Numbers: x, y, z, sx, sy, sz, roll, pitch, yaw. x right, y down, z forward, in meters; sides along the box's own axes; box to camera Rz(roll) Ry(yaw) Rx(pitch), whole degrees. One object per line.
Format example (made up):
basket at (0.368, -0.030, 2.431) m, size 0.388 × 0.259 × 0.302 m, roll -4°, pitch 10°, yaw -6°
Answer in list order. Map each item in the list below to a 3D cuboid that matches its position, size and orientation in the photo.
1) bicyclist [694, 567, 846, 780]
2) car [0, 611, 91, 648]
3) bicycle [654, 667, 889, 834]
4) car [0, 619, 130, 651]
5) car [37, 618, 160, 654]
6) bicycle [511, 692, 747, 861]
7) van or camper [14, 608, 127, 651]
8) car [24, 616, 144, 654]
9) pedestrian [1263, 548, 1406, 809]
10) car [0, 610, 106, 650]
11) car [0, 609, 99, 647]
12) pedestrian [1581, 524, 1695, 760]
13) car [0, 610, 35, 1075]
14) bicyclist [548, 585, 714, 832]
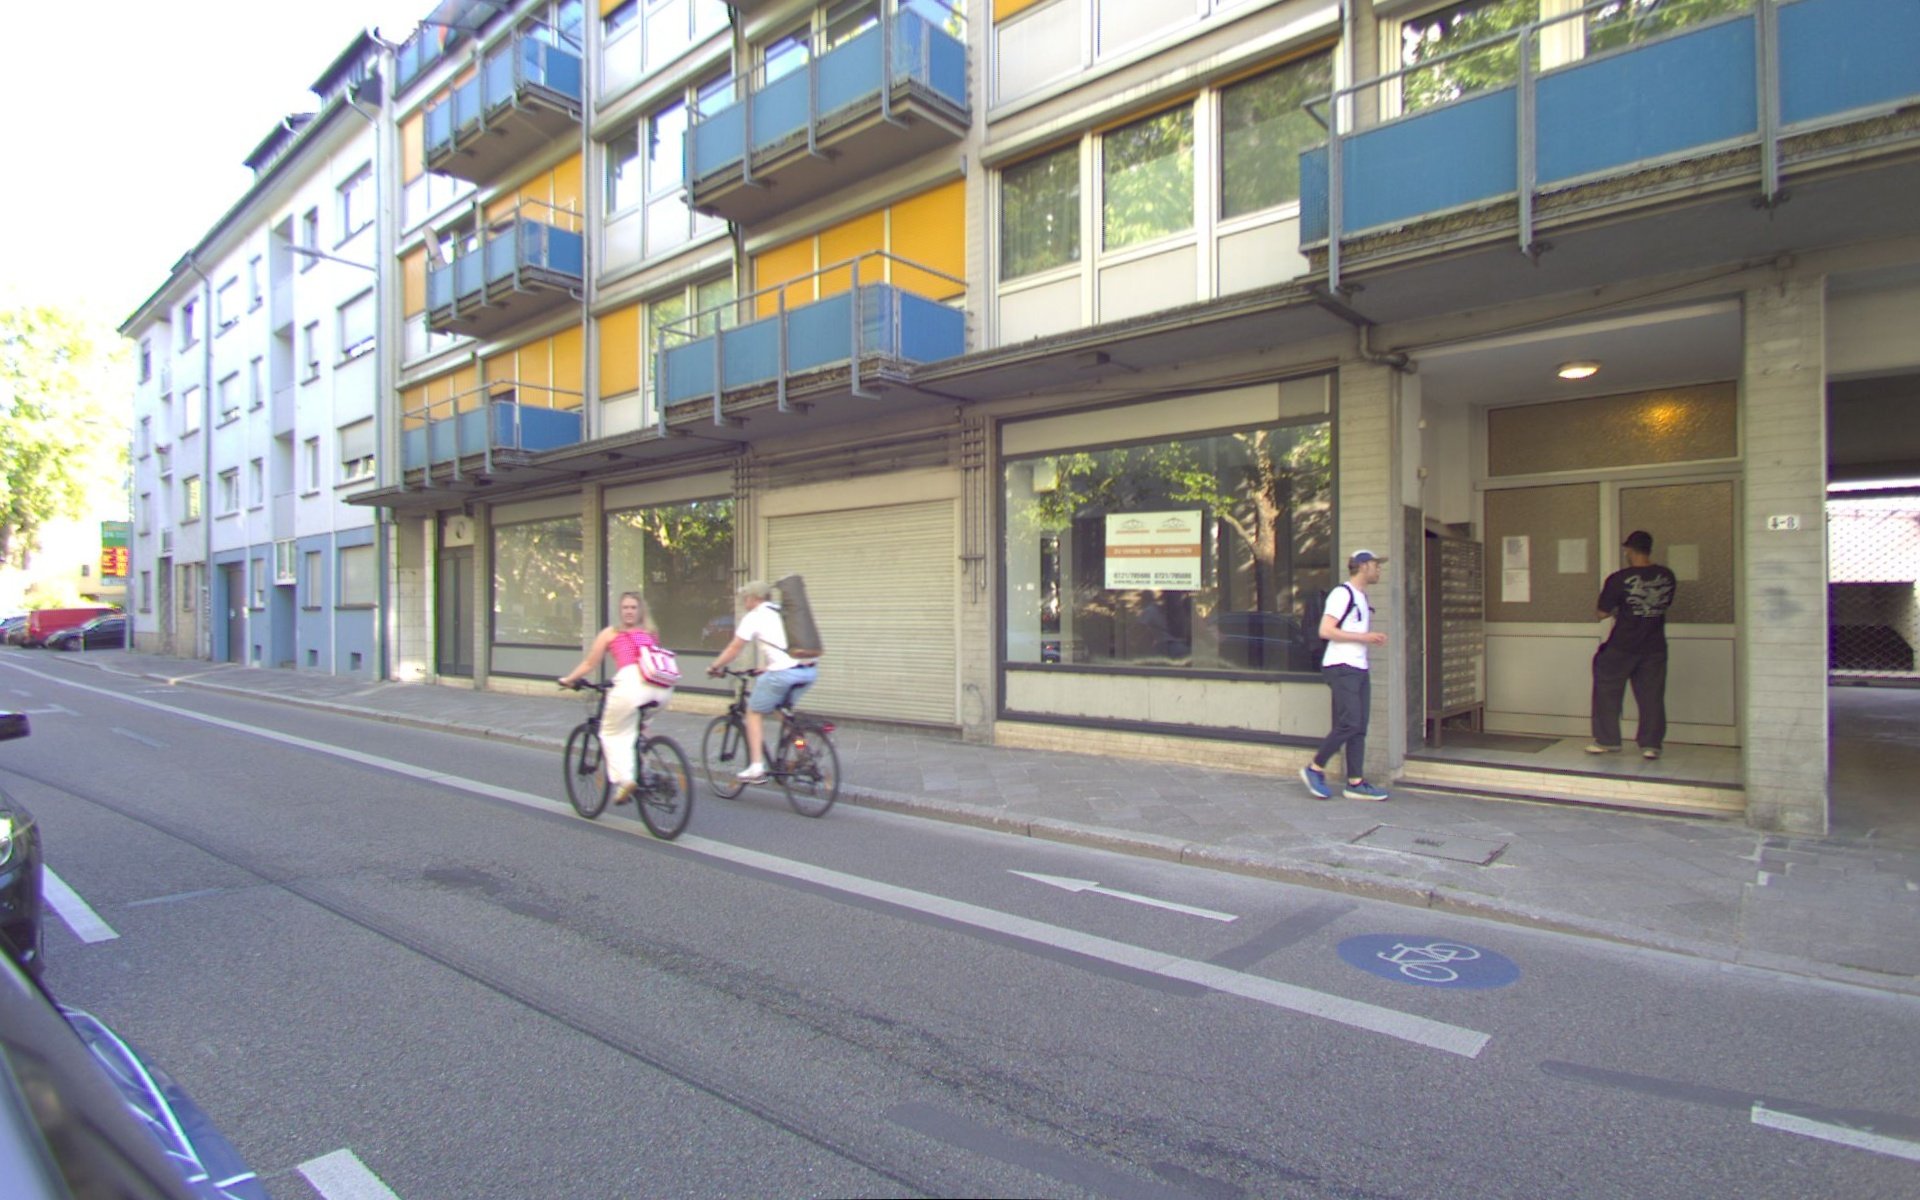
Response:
bicyclist at (-1.506, 0.547, 8.047) m, size 0.838 × 1.566 × 0.834 m, roll -1°, pitch -1°, yaw 38°
car at (-57.394, 1.822, 62.852) m, size 1.999 × 2.210 × 4.927 m, roll -1°, pitch -1°, yaw 41°
bicycle at (-1.532, 1.126, 8.075) m, size 1.834 × 1.087 × 0.854 m, roll -1°, pitch -1°, yaw 38°
car at (-45.720, 1.751, 51.693) m, size 1.999 × 1.506 × 4.927 m, roll -1°, pitch -1°, yaw 41°
car at (-39.751, 1.633, 46.774) m, size 1.999 × 1.506 × 4.093 m, roll -1°, pitch -1°, yaw 41°
bicycle at (-2.394, 1.186, 7.207) m, size 1.861 × 0.936 × 0.687 m, roll -1°, pitch -1°, yaw 38°
van or camper at (-43.887, 1.431, 50.001) m, size 1.999 × 2.029 × 3.946 m, roll -1°, pitch -1°, yaw 40°
car at (-41.631, 1.621, 48.158) m, size 1.999 × 1.703 × 4.093 m, roll -1°, pitch -1°, yaw 41°
pedestrian at (2.778, 0.550, 7.493) m, size 0.875 × 1.813 × 0.595 m, roll -2°, pitch 0°, yaw 29°
car at (-53.313, 1.737, 59.192) m, size 1.999 × 2.210 × 4.927 m, roll -1°, pitch -1°, yaw 41°
car at (-55.401, 1.672, 61.142) m, size 1.999 × 2.210 × 4.927 m, roll -1°, pitch -1°, yaw 41°
pedestrian at (5.203, 0.312, 7.798) m, size 0.659 × 1.726 × 0.543 m, roll -1°, pitch -1°, yaw 30°
car at (-5.002, 0.796, 3.850) m, size 3.861 × 1.467 × 1.718 m, roll -1°, pitch -1°, yaw 40°
bicyclist at (-2.314, 0.706, 7.097) m, size 0.981 × 1.590 × 0.678 m, roll -1°, pitch -1°, yaw 38°
